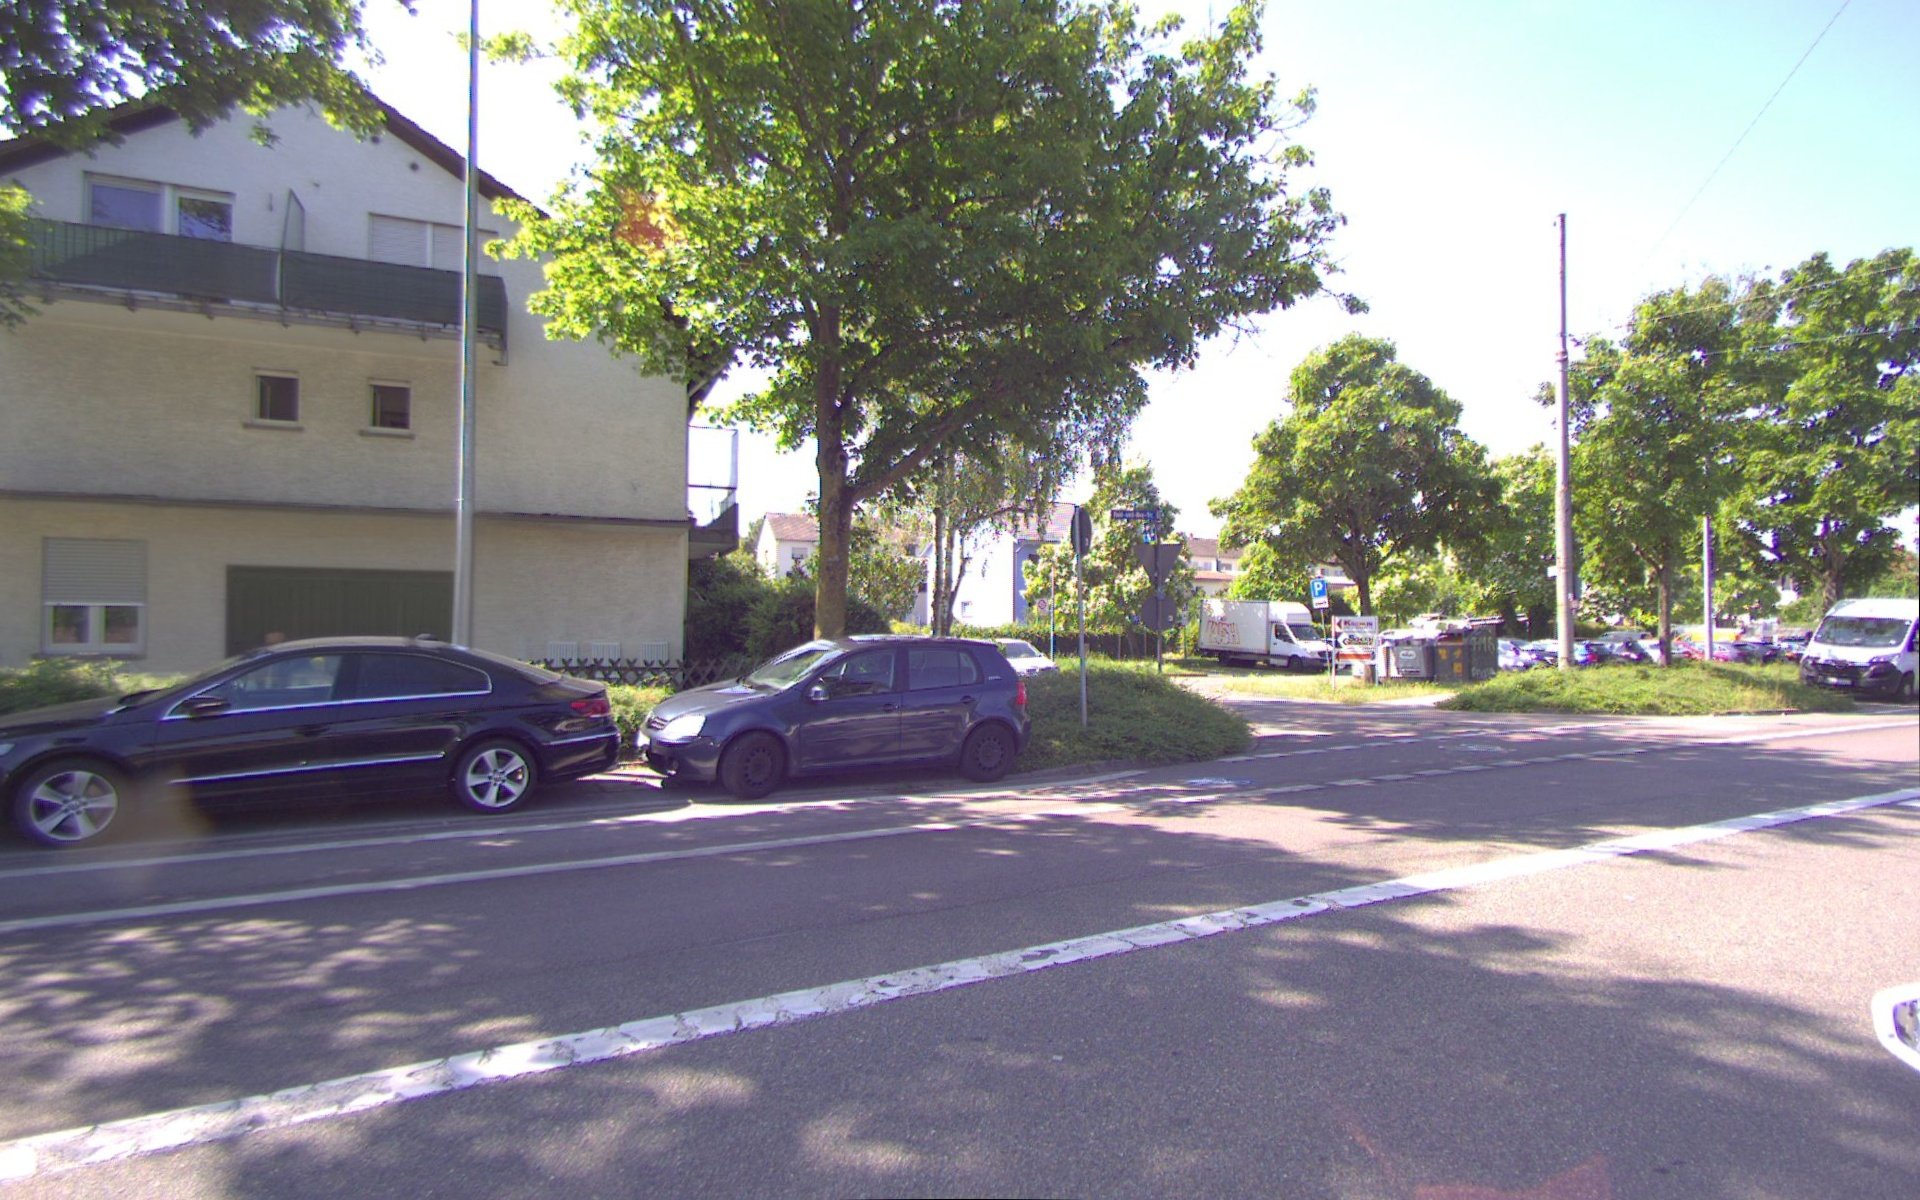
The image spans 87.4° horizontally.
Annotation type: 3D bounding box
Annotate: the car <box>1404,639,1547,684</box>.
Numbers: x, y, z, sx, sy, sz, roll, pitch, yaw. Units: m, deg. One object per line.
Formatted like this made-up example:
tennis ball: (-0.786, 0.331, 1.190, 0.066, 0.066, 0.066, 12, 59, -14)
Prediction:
car: (17.318, 2.074, 33.915, 1.712, 1.434, 3.964, 2, -4, -33)

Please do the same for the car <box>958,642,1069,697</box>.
car: (1.435, 1.940, 28.407, 1.704, 1.434, 3.983, 1, -3, -20)

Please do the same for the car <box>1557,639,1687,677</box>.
car: (26.325, 2.325, 40.077, 1.712, 1.434, 3.964, 2, -4, -33)

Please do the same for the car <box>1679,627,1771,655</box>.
car: (54.416, 2.901, 71.542, 2.043, 1.811, 4.762, 2, 0, -34)

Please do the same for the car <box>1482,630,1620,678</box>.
car: (21.408, 1.969, 36.503, 1.712, 1.631, 3.964, 2, -4, -33)

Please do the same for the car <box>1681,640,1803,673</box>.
car: (34.914, 2.528, 44.960, 1.712, 1.434, 3.964, 2, -4, -33)

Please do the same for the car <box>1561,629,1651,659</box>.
car: (44.510, 2.986, 69.293, 2.043, 1.811, 4.762, 2, 0, -34)

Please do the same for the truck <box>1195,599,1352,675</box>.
truck: (14.428, 1.613, 46.801, 2.646, 3.151, 6.967, 1, 0, -30)

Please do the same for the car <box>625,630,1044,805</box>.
car: (-1.277, 1.092, 10.477, 3.988, 1.462, 1.718, 1, 0, -28)

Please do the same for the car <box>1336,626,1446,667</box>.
car: (21.662, 2.322, 50.689, 2.043, 1.811, 4.762, 2, 0, -34)

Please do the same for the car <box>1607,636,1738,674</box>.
car: (28.837, 2.239, 40.758, 1.712, 1.434, 3.964, 2, -4, -33)

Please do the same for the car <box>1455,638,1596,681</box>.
car: (19.689, 2.073, 35.118, 1.712, 1.434, 3.964, 2, -4, -33)

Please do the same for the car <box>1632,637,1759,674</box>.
car: (30.735, 2.331, 42.080, 1.712, 1.434, 3.964, 2, -4, -33)

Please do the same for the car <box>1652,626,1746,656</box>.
car: (50.471, 2.768, 68.668, 2.043, 1.811, 4.762, 2, 0, -34)

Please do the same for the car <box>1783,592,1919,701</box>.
car: (23.788, 1.138, 25.771, 5.745, 2.550, 2.114, 1, 0, -29)

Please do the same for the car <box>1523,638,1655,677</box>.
car: (24.165, 2.210, 38.710, 1.712, 1.434, 3.964, 2, -4, -33)

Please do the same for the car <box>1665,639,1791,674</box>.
car: (33.157, 2.443, 43.450, 1.712, 1.434, 3.964, 2, -4, -33)

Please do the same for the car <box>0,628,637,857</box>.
car: (-5.239, 1.003, 8.358, 4.568, 1.434, 1.854, 1, 0, -31)
